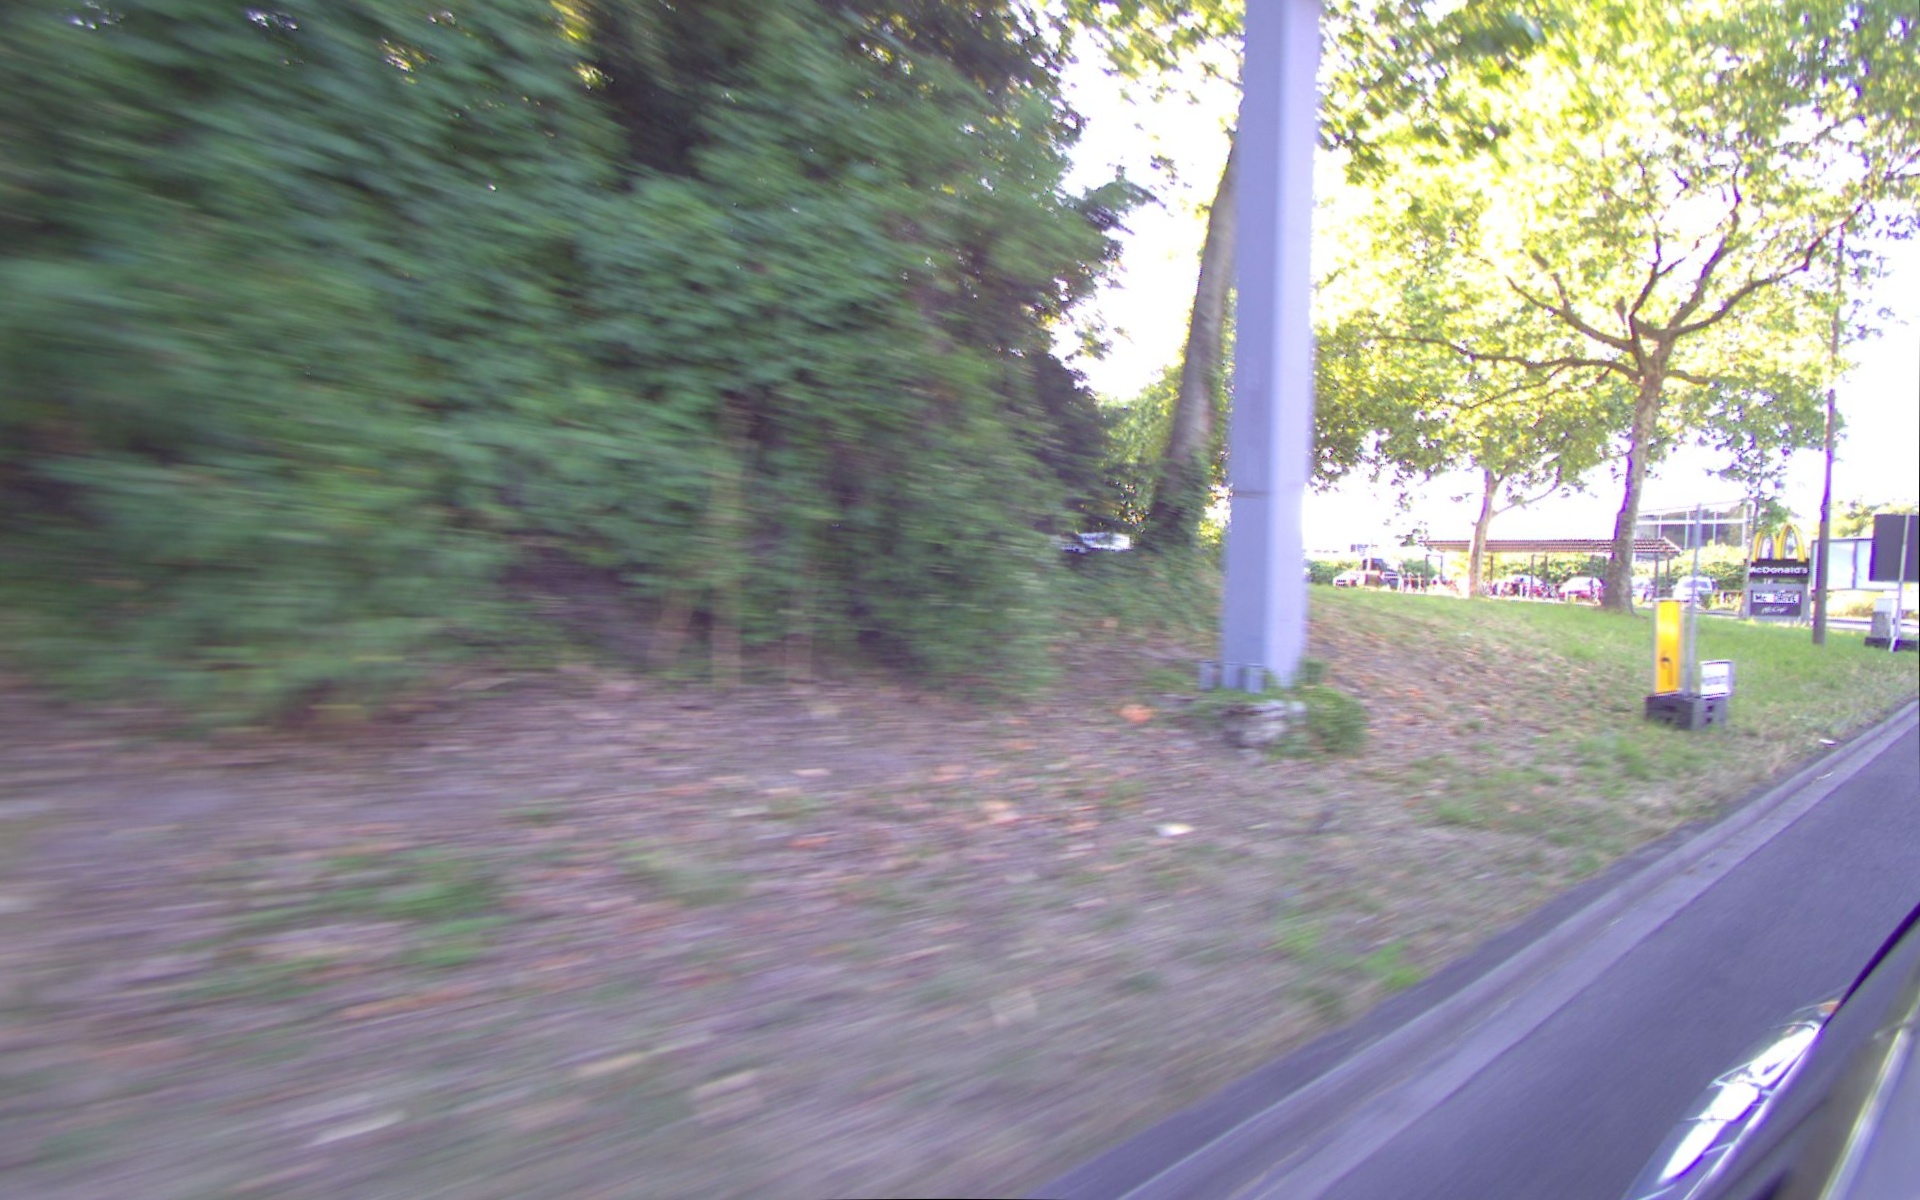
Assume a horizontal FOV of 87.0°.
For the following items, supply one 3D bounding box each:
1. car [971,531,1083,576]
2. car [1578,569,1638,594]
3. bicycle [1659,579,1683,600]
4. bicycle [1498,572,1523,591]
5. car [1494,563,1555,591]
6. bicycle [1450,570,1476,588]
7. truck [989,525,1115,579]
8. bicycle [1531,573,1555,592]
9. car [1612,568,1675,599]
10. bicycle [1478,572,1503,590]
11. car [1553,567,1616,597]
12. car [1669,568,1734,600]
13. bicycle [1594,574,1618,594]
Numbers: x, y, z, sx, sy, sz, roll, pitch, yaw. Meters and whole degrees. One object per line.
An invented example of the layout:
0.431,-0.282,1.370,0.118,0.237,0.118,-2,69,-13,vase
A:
2.731,-1.964,42.207,1.962,1.727,4.901,1,2,-36,car
46.104,-1.336,71.979,3.921,1.657,2.122,1,2,-32,car
36.761,-0.556,52.299,1.860,1.051,0.543,0,2,-40,bicycle
31.855,-1.059,58.538,1.858,1.051,0.544,0,2,-37,bicycle
35.766,-1.445,64.101,4.247,1.669,2.117,0,3,-43,car
30.169,-1.259,60.681,1.858,1.051,0.544,0,2,-37,bicycle
7.131,-3.854,80.665,3.136,3.923,11.095,1,2,-38,truck
32.747,-0.969,56.870,1.860,1.051,0.543,0,2,-40,bicycle
39.519,-0.937,58.488,3.932,1.669,2.117,0,3,-43,car
31.155,-1.126,59.443,1.858,1.051,0.544,0,2,-37,bicycle
37.710,-1.088,61.079,4.247,1.669,2.117,0,3,-43,car
41.357,-0.884,56.427,4.155,1.669,2.117,0,3,-43,car
34.996,-0.887,54.796,1.860,1.051,0.543,0,2,-40,bicycle
